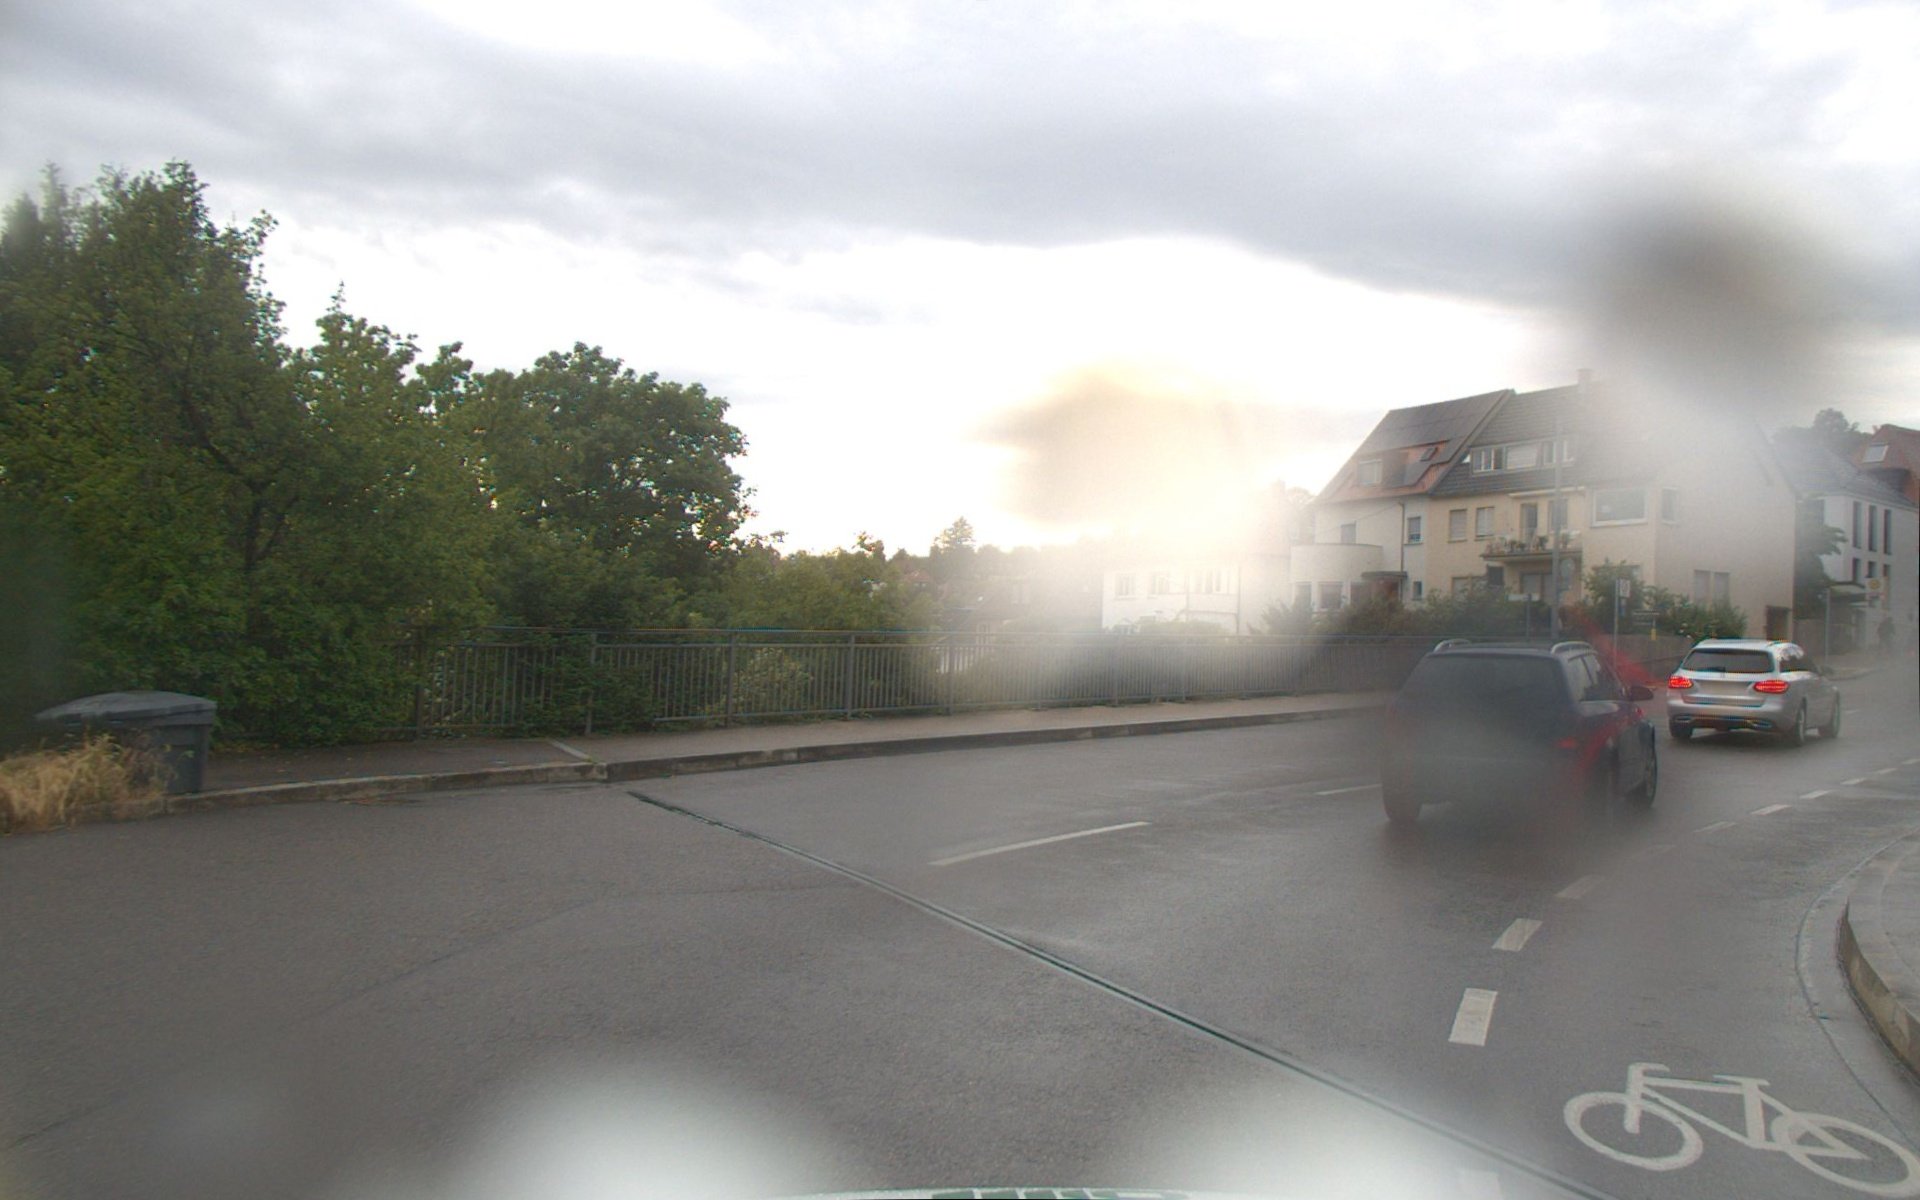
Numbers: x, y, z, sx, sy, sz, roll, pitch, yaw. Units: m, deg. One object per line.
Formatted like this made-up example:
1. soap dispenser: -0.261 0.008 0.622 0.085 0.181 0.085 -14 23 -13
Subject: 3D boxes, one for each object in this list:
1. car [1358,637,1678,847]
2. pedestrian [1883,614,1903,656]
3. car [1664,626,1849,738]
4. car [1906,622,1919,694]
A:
1. car: 4.771 1.066 13.765 1.715 1.432 3.991 1 -2 31
2. pedestrian: 39.106 1.455 69.344 0.646 1.720 0.580 -3 0 32
3. car: 11.915 1.184 24.600 1.858 1.413 3.986 4 0 34
4. car: 23.672 1.408 39.259 1.790 1.645 3.773 4 1 34
